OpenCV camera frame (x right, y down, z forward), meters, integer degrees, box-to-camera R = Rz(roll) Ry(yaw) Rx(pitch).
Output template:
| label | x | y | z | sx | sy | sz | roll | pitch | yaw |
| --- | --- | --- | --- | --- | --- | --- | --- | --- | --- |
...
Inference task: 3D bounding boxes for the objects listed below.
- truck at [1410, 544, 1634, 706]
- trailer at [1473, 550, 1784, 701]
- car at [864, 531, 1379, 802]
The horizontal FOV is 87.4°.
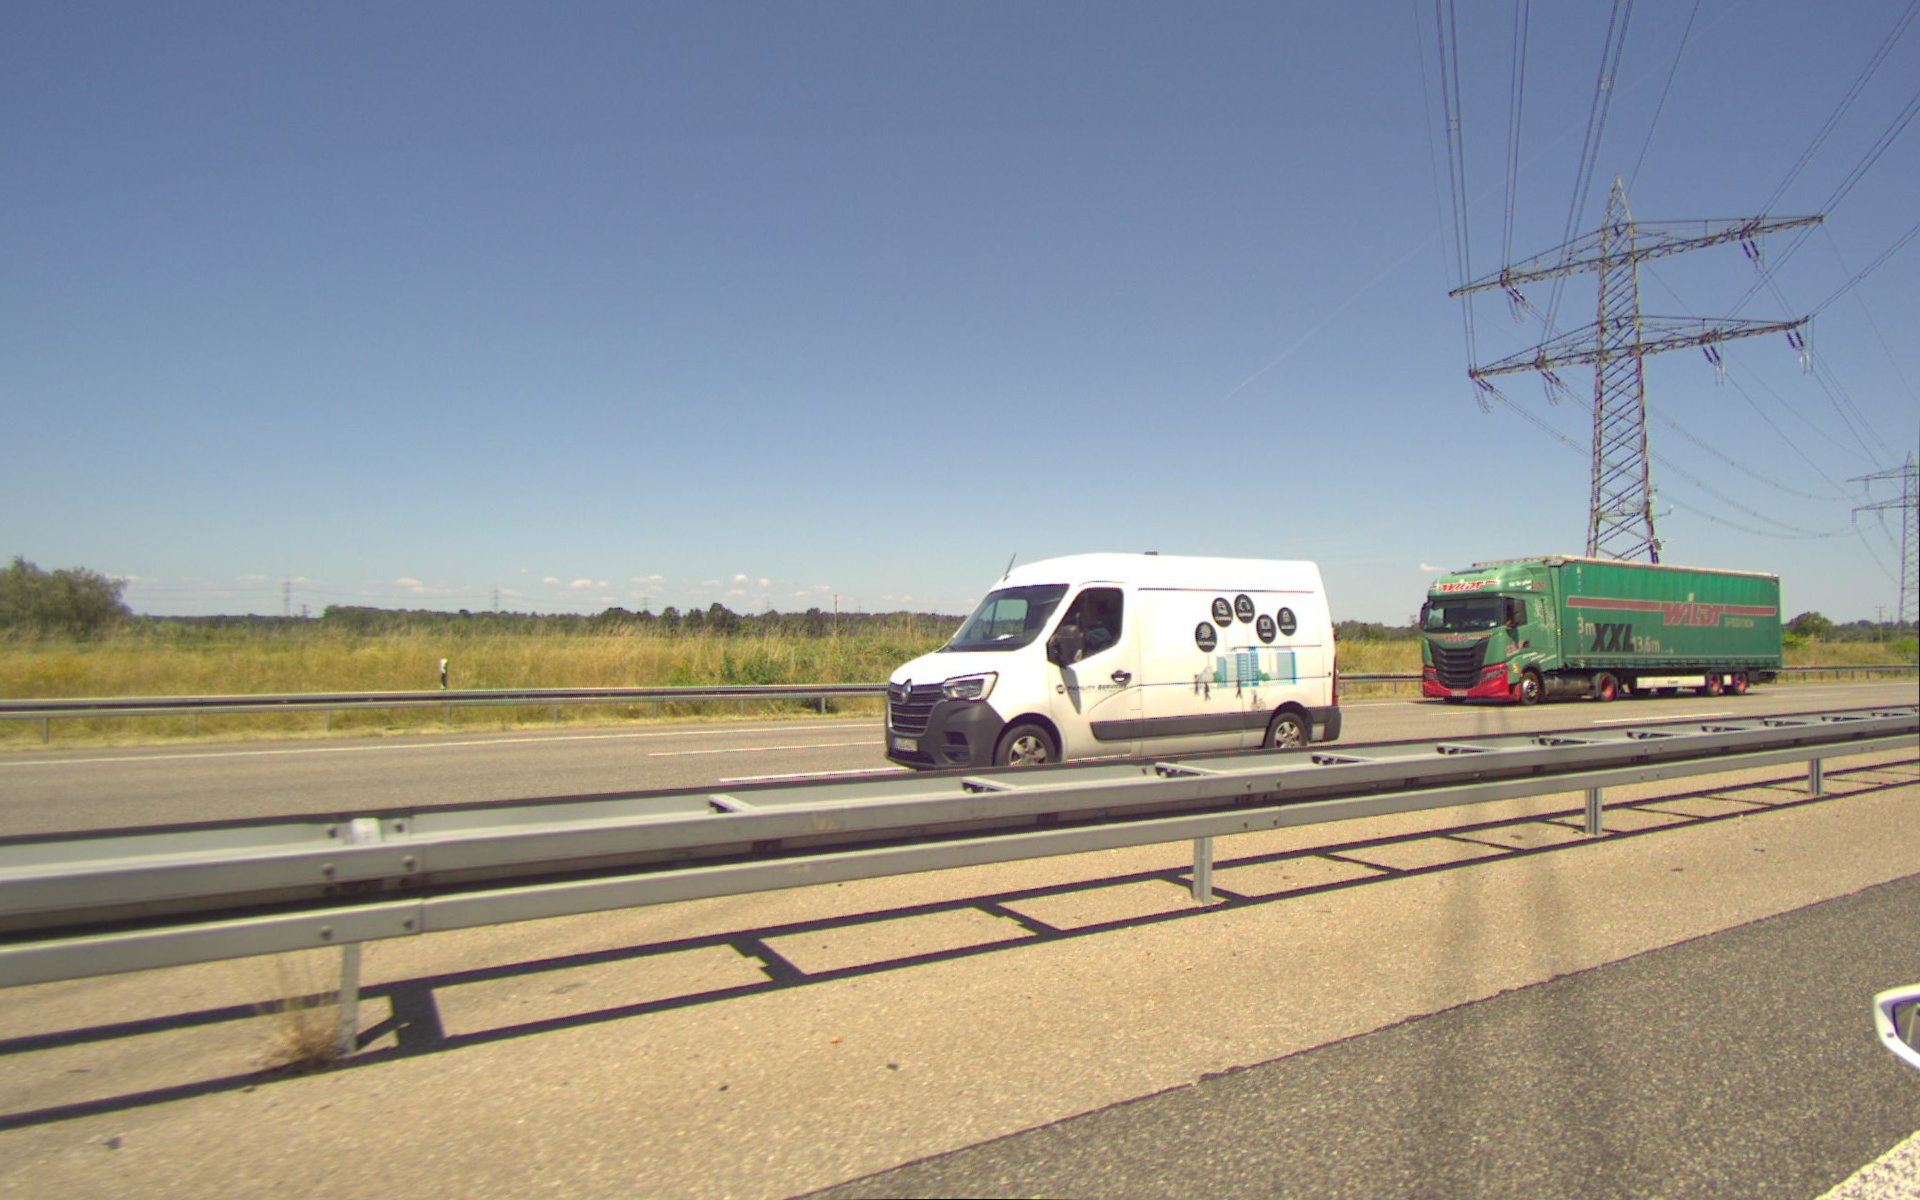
| label | x | y | z | sx | sy | sz | roll | pitch | yaw |
| --- | --- | --- | --- | --- | --- | --- | --- | --- | --- |
| truck | 16.200 | 0.771 | 28.871 | 6.504 | 4.189 | 2.686 | 1 | -2 | -31 |
| trailer | 21.832 | 0.906 | 32.274 | 13.755 | 4.138 | 2.656 | 2 | -2 | -31 |
| car | 2.029 | 0.721 | 11.605 | 6.000 | 2.470 | 2.038 | 2 | -3 | -31 |
